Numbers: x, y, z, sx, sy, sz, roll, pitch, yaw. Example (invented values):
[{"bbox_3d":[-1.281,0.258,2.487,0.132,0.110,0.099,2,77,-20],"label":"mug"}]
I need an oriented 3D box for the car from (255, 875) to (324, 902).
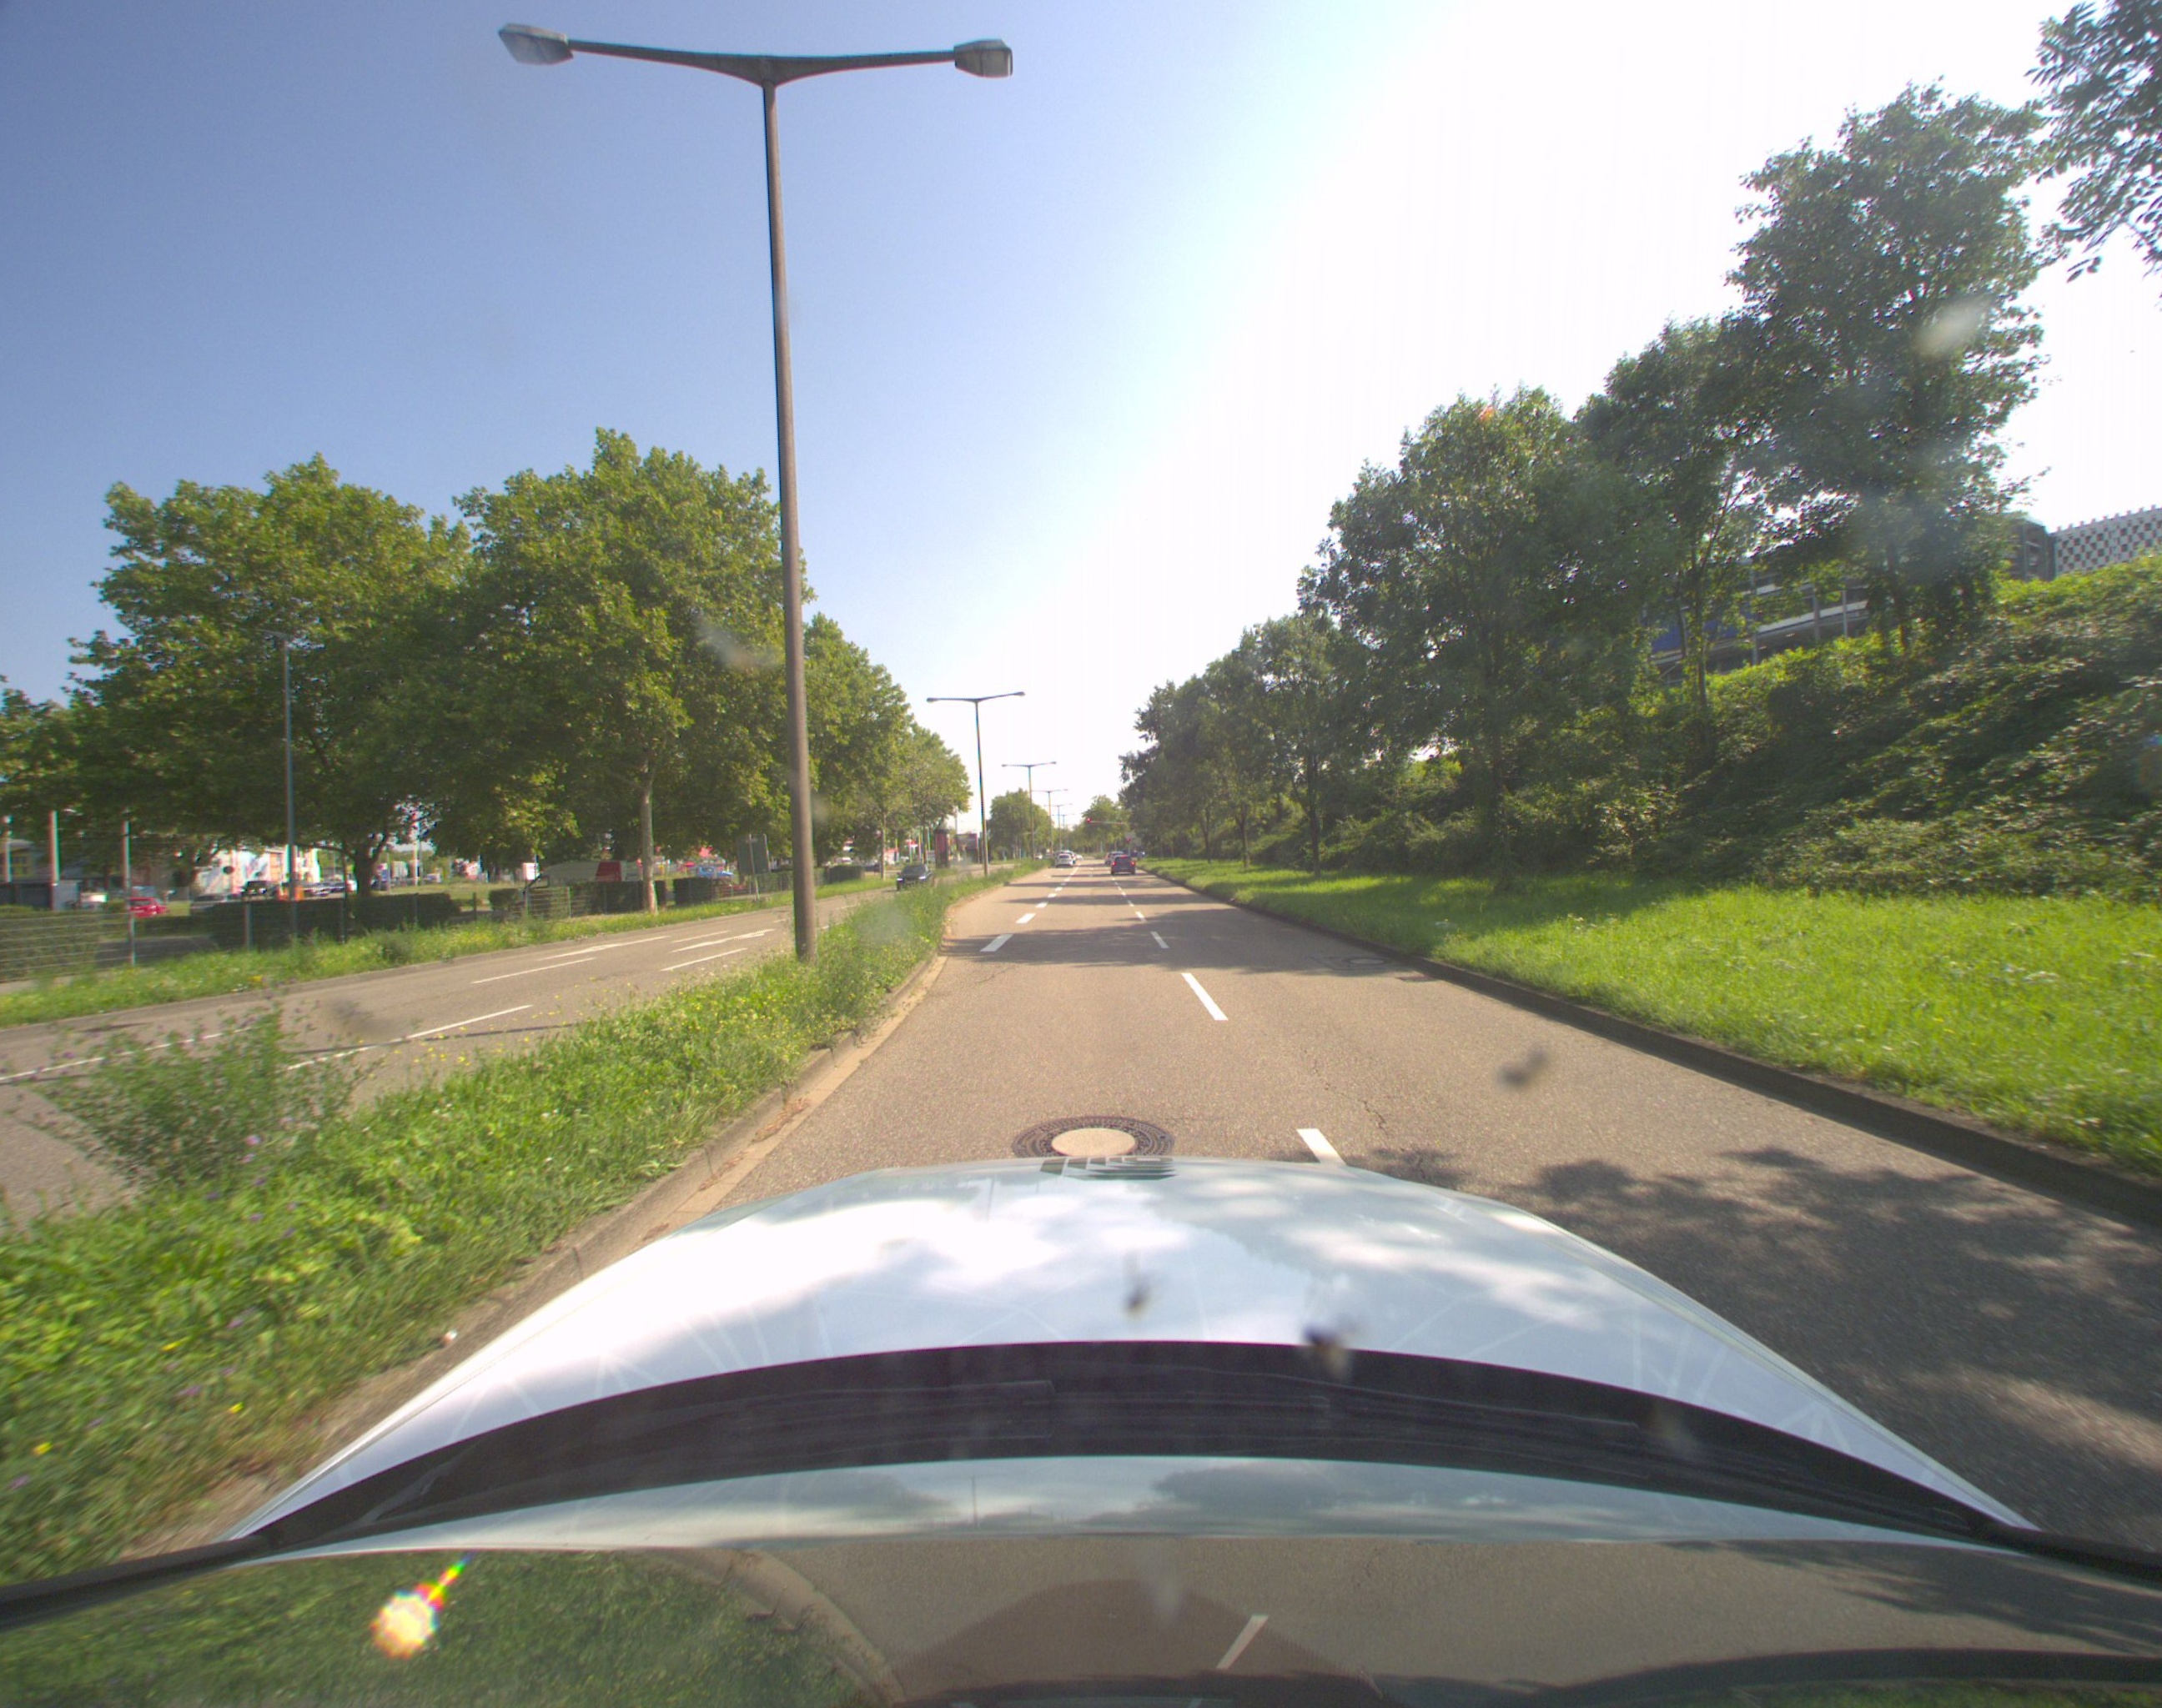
[{"bbox_3d":[-70.033,3.060,72.136,4.017,2.013,1.979,-2,3,-35],"label":"car"}]

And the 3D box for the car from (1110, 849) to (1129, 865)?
[{"bbox_3d":[4.337,0.371,92.653,1.987,1.654,4.000,-3,0,0],"label":"car"}]

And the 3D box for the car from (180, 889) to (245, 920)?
[{"bbox_3d":[-54.219,3.108,50.915,1.940,1.452,3.958,-2,3,-35],"label":"car"}]

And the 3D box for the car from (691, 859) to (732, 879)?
[{"bbox_3d":[-42.011,1.738,92.566,4.012,2.013,1.981,-2,3,-30],"label":"car"}]

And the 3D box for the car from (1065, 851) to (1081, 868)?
[{"bbox_3d":[-1.051,0.675,107.491,1.987,2.013,4.001,-1,2,0],"label":"car"}]

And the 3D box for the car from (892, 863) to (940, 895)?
[{"bbox_3d":[-9.538,1.409,47.395,1.987,1.561,4.001,-1,2,0],"label":"car"}]

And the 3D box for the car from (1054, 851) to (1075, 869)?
[{"bbox_3d":[-1.689,0.630,85.863,1.987,1.702,4.001,-3,0,1],"label":"car"}]

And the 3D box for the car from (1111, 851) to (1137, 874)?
[{"bbox_3d":[3.157,0.599,60.241,1.774,1.427,4.001,-1,2,1],"label":"car"}]

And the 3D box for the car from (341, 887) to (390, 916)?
[{"bbox_3d":[-47.555,3.117,54.208,1.940,1.452,3.958,-2,3,-35],"label":"car"}]

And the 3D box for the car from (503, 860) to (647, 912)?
[{"bbox_3d":[-24.945,1.545,40.320,5.568,2.336,2.278,-1,2,-1],"label":"car"}]

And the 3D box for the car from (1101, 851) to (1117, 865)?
[{"bbox_3d":[3.588,0.475,105.847,1.987,1.654,4.001,1,2,0],"label":"car"}]

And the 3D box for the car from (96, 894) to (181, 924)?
[{"bbox_3d":[-75.691,4.390,65.473,4.017,2.013,1.979,-2,3,-35],"label":"car"}]

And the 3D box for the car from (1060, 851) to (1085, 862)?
[{"bbox_3d":[-1.421,0.372,138.018,3.956,1.630,1.707,-3,0,16],"label":"car"}]
